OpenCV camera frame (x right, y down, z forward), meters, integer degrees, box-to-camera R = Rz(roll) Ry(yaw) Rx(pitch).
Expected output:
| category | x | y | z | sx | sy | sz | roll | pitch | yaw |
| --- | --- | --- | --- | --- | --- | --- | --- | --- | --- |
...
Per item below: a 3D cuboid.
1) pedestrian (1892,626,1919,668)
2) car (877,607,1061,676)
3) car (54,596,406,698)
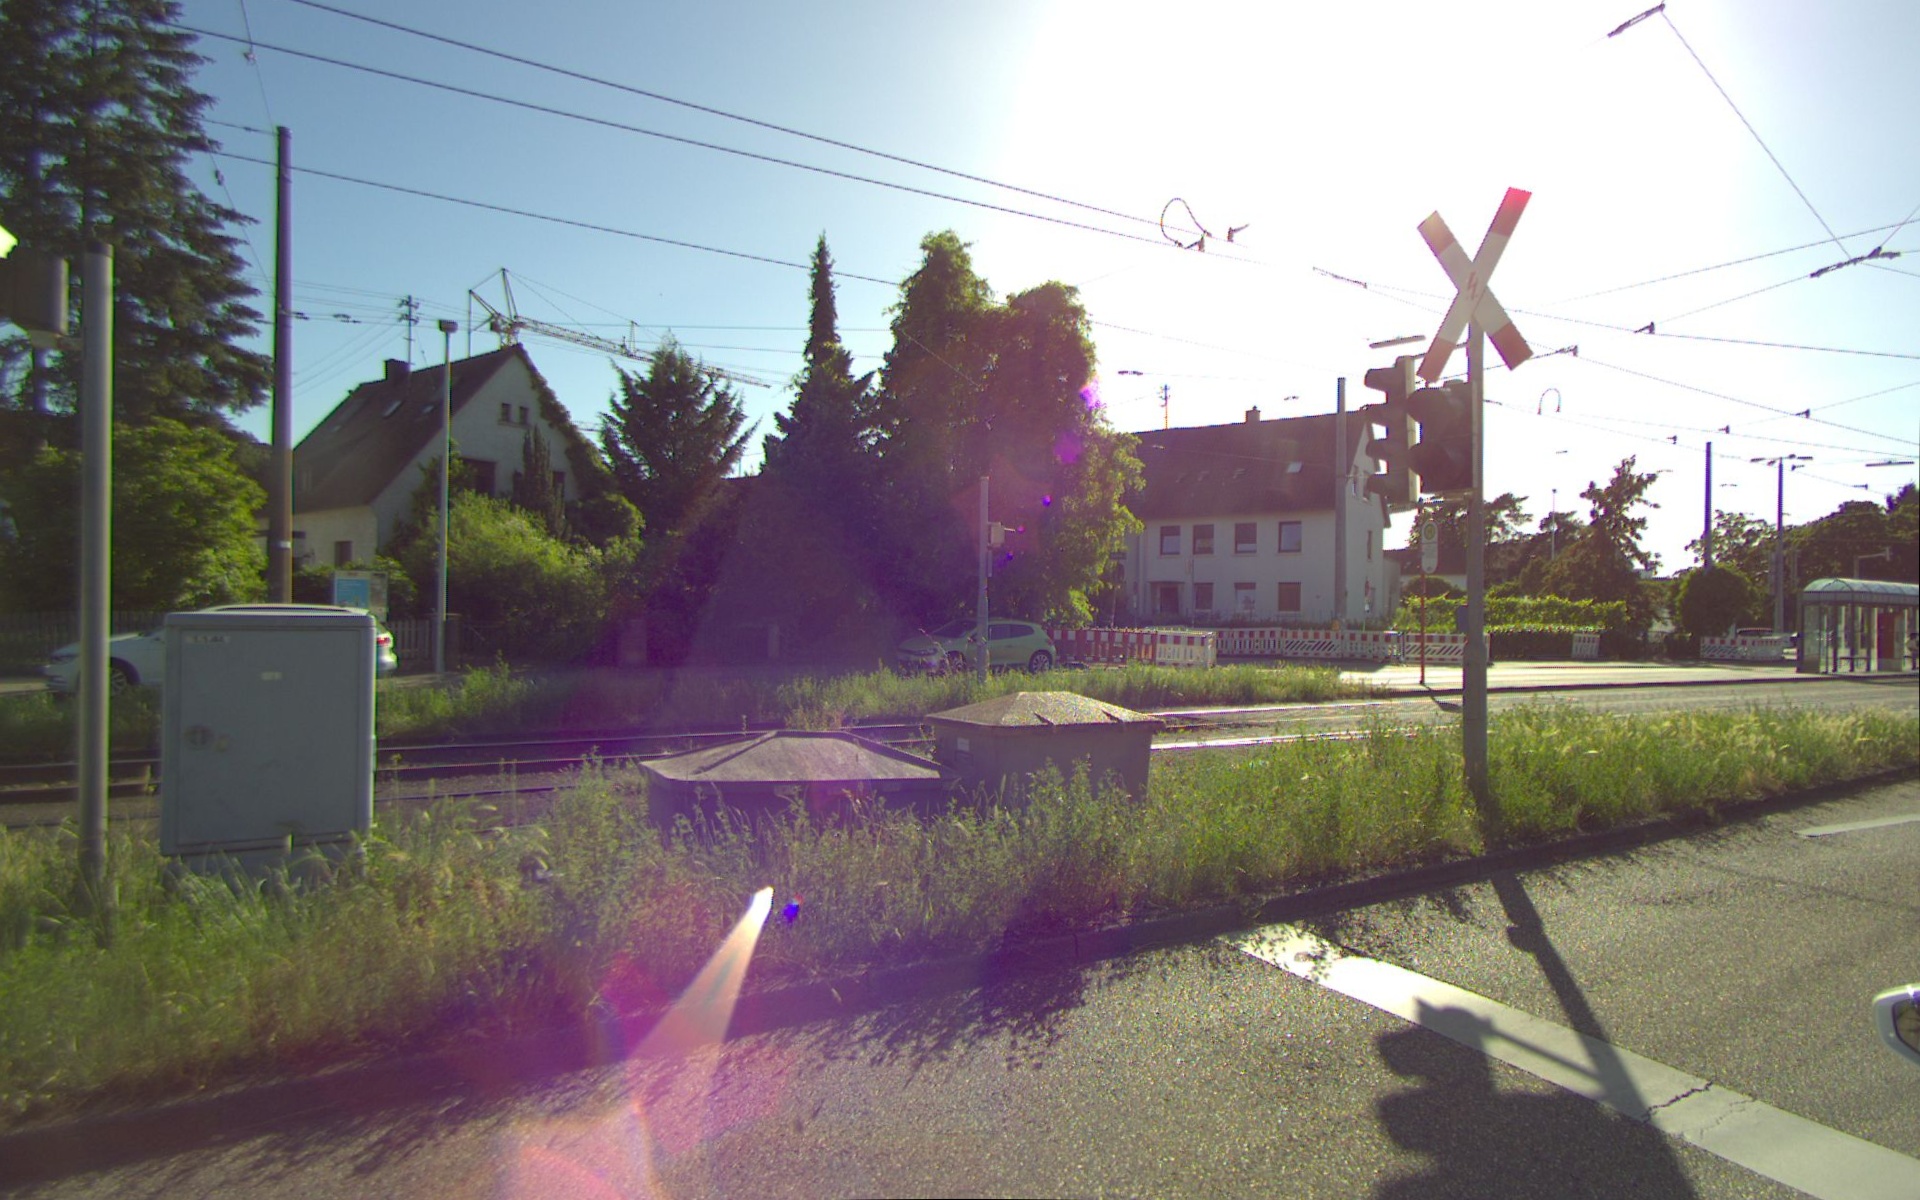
| category | x | y | z | sx | sy | sz | roll | pitch | yaw |
| --- | --- | --- | --- | --- | --- | --- | --- | --- | --- |
| pedestrian | 34.399 | 1.701 | 36.138 | 0.995 | 1.472 | 1.055 | 2 | -2 | -30 |
| car | 0.231 | 1.005 | 24.535 | 4.022 | 1.521 | 1.984 | 2 | 0 | -31 |
| car | -12.036 | 0.766 | 16.995 | 4.563 | 1.492 | 1.874 | 2 | 0 | -32 |
